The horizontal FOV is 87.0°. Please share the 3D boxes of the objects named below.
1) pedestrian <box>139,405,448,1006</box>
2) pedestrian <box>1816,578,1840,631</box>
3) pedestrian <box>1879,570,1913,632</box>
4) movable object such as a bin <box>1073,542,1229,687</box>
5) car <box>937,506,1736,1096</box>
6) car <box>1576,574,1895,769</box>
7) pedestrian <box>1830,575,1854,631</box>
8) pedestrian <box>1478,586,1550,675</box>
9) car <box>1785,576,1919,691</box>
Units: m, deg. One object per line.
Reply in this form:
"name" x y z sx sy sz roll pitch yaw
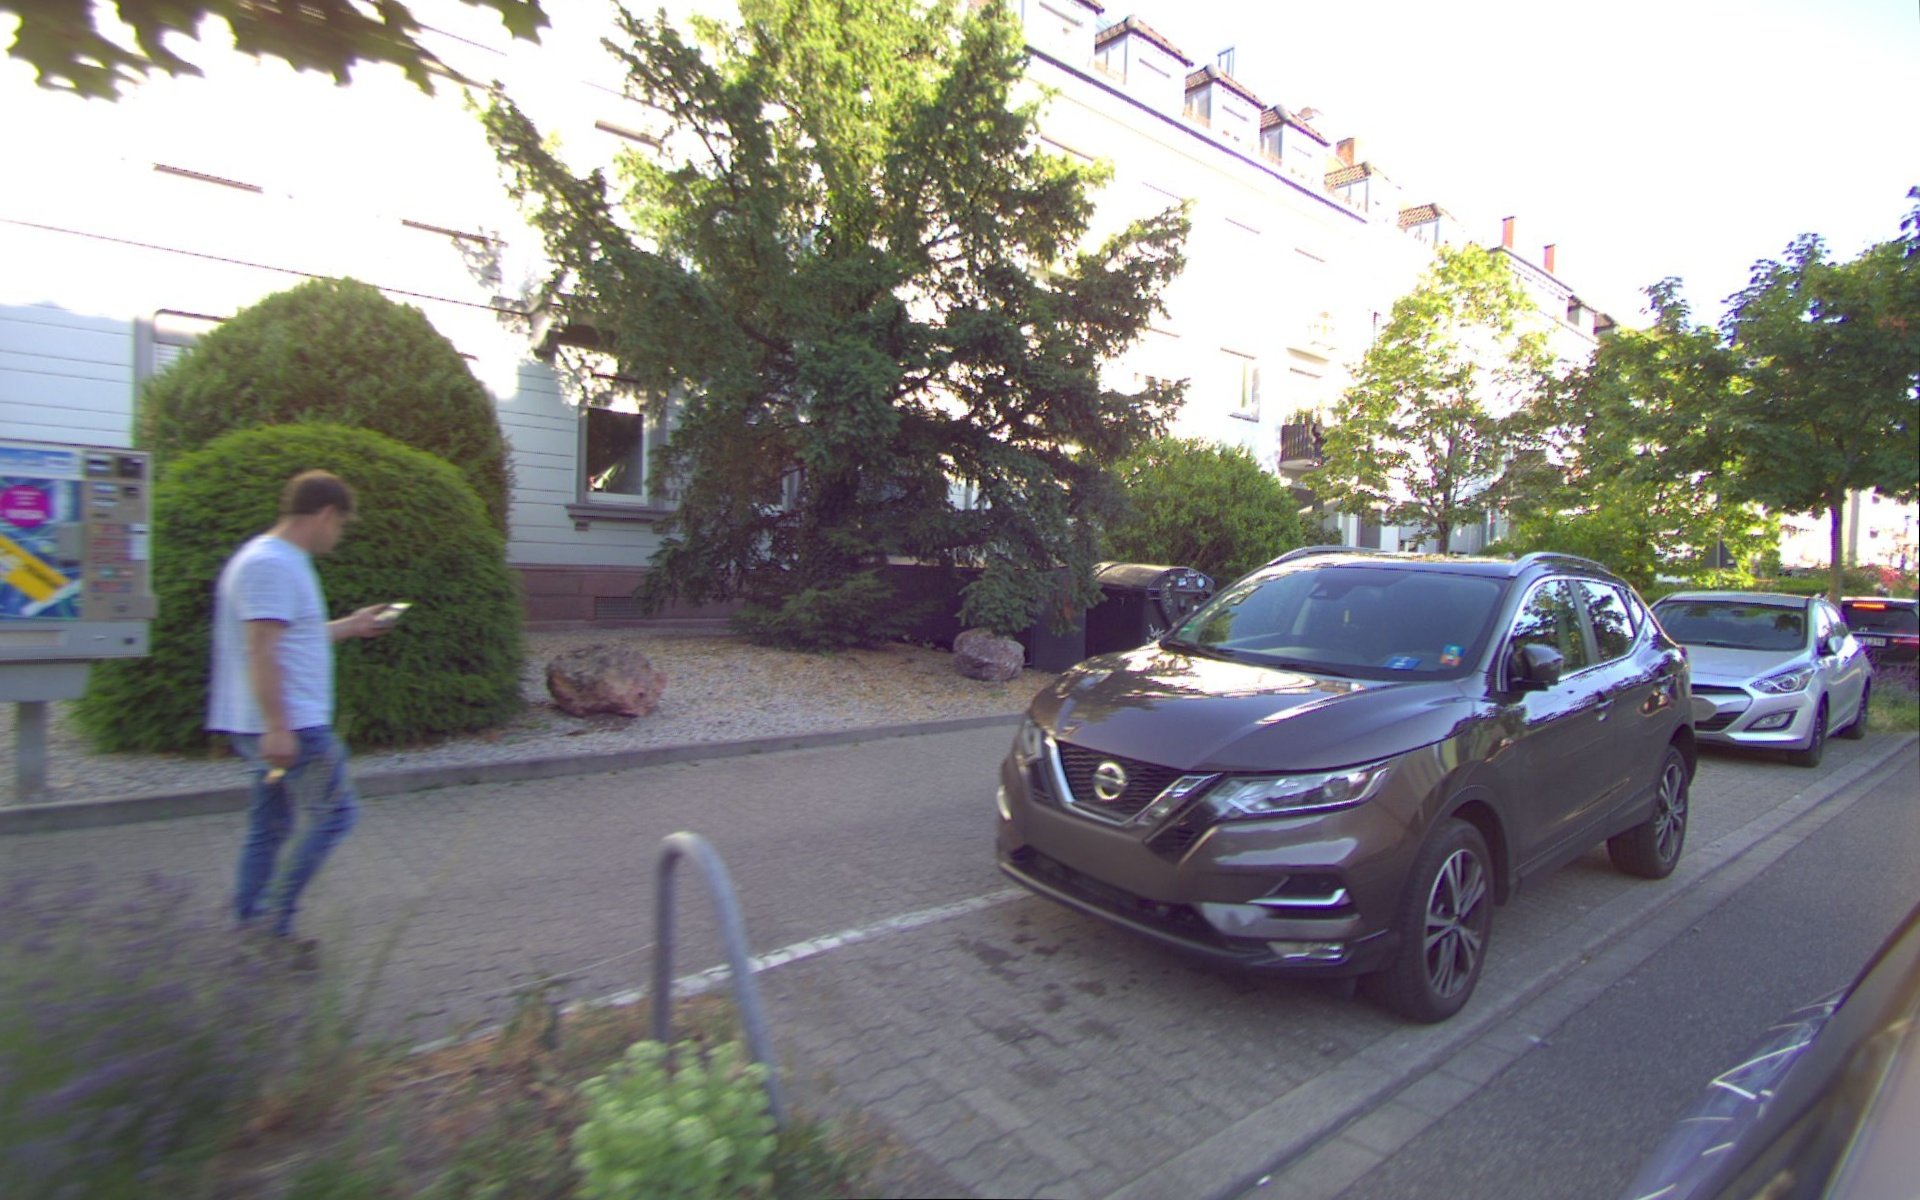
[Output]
"pedestrian" -2.250 0.290 3.446 0.792 1.721 0.790 0 1 -36
"pedestrian" 28.279 0.142 32.974 0.518 1.718 0.511 0 2 -45
"pedestrian" 28.685 0.016 31.001 0.749 1.872 0.550 1 1 -33
"movable object such as a bin" 2.159 0.130 11.569 1.116 1.510 1.273 1 4 -30
"car" 2.011 0.496 4.741 4.024 1.620 1.722 0 4 -41
"car" 7.898 0.556 10.150 4.318 1.512 1.721 0 2 -42
"pedestrian" 27.772 0.096 31.865 0.518 1.718 0.511 0 2 -45
"pedestrian" 8.193 0.432 14.973 0.776 1.250 0.674 0 1 -40
"car" 15.444 0.484 16.676 4.733 1.600 1.880 0 3 -39
